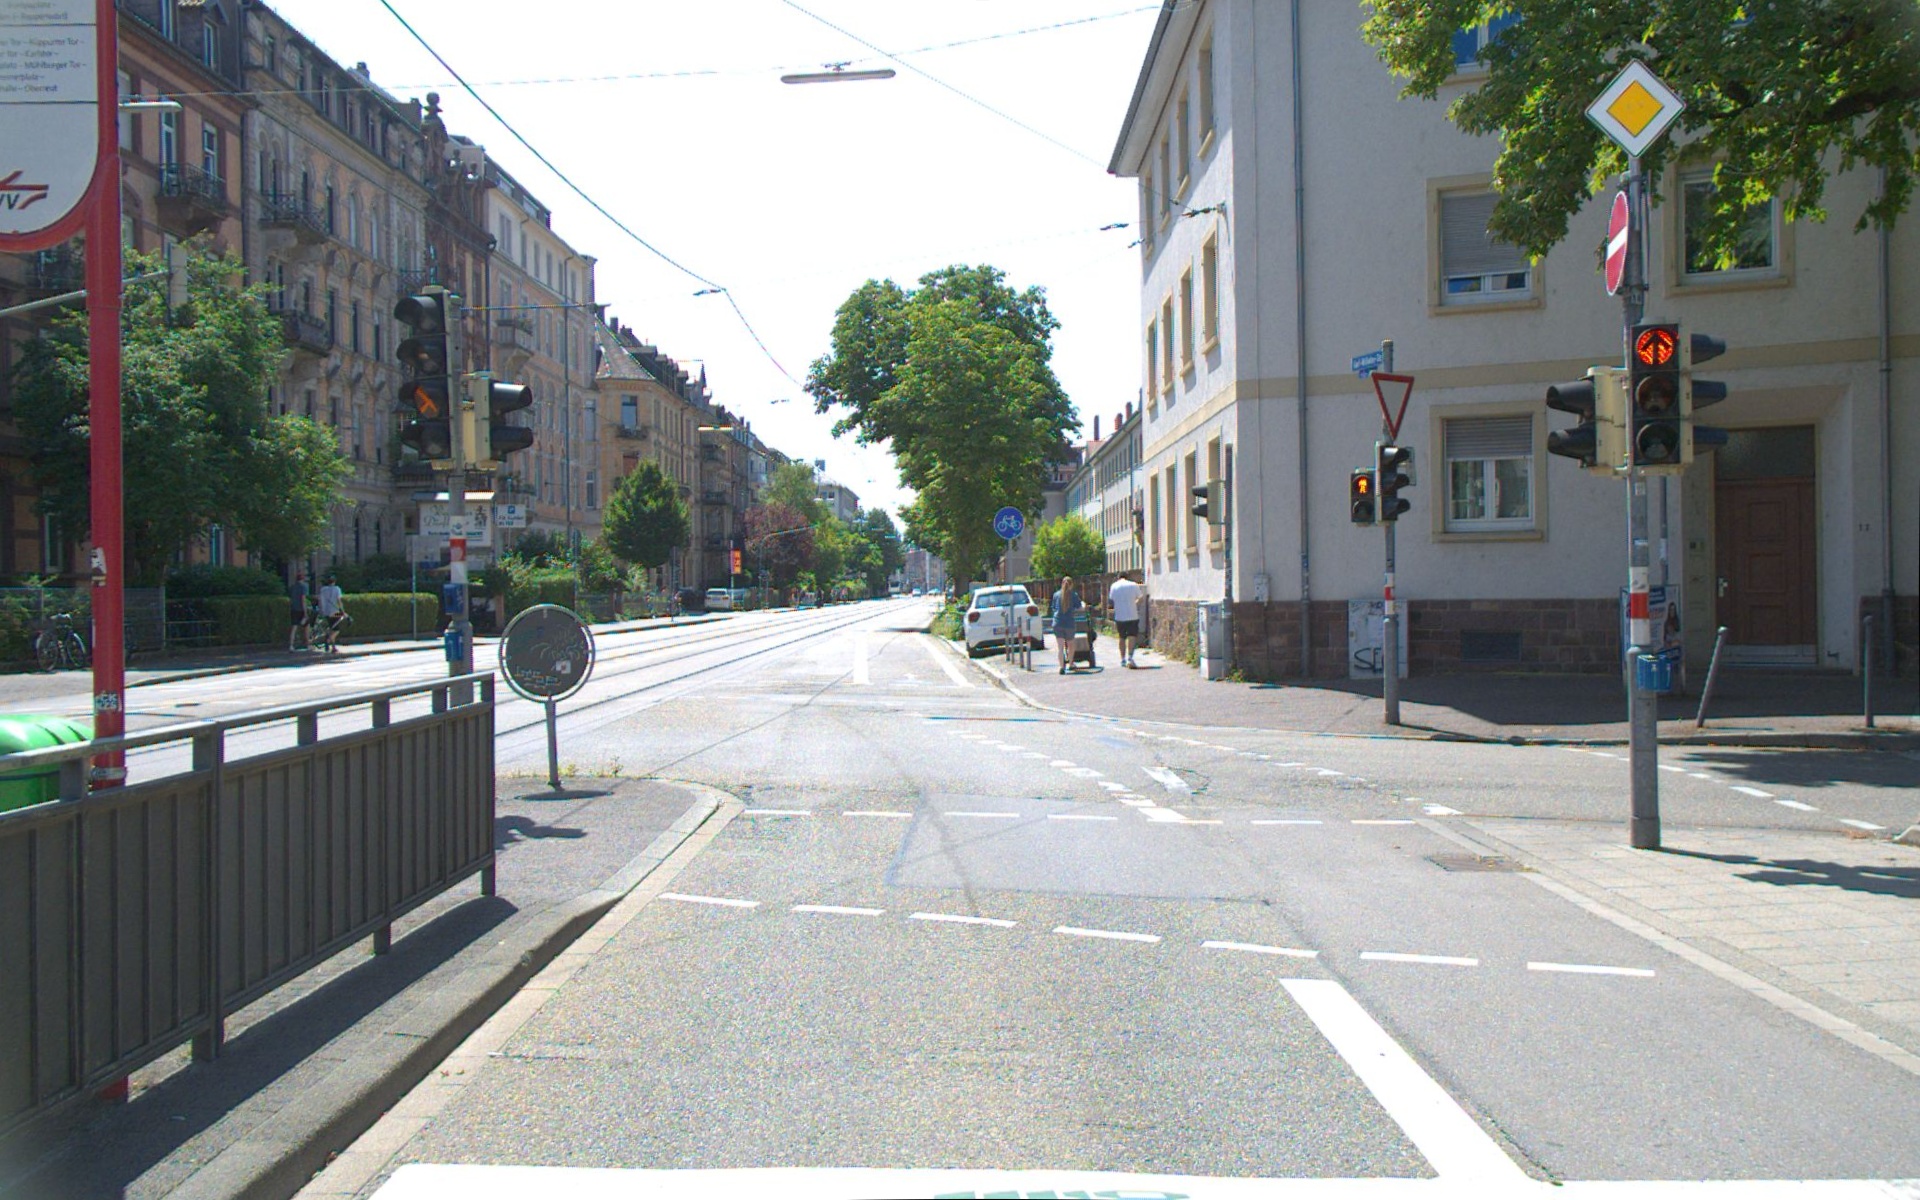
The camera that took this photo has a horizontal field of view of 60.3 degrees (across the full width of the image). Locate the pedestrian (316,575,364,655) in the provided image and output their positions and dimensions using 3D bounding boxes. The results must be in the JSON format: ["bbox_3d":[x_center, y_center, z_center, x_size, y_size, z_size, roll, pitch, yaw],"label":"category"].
[{"bbox_3d":[-14.586,0.338,38.930,0.799,1.854,0.873,1,1,-1],"label":"pedestrian"}]

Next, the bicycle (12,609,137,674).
[{"bbox_3d":[-16.709,0.762,31.305,0.918,1.156,2.773,1,0,-2],"label":"bicycle"}]

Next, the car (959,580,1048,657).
[{"bbox_3d":[0.932,0.401,37.330,1.778,1.542,3.999,-3,0,-1],"label":"car"}]

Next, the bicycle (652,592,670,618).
[{"bbox_3d":[-15.269,0.256,84.435,0.664,1.301,1.917,-1,0,-4],"label":"bicycle"}]

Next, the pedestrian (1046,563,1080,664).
[{"bbox_3d":[1.741,0.222,27.884,0.545,1.674,0.677,1,-1,4],"label":"pedestrian"}]

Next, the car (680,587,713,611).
[{"bbox_3d":[-19.666,-0.059,123.608,1.880,1.745,3.999,1,0,-1],"label":"car"}]

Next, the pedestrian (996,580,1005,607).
[{"bbox_3d":[2.438,-0.376,99.508,0.511,1.590,0.573,-1,0,-1],"label":"pedestrian"}]

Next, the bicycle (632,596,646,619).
[{"bbox_3d":[-15.493,0.341,79.788,0.665,1.083,1.913,-1,0,-12],"label":"bicycle"}]

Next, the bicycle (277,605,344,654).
[{"bbox_3d":[-15.878,0.703,40.515,0.920,1.156,2.767,1,0,-9],"label":"bicycle"}]

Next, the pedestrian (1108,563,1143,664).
[{"bbox_3d":[2.799,0.232,28.029,0.545,1.674,0.677,1,-1,4],"label":"pedestrian"}]

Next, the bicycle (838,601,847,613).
[{"bbox_3d":[-11.524,0.706,162.568,0.712,1.142,2.085,1,0,1],"label":"bicycle"}]

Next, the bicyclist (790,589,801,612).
[{"bbox_3d":[-12.338,0.050,124.151,0.712,1.657,1.079,1,0,1],"label":"bicyclist"}]

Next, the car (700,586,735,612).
[{"bbox_3d":[-16.867,-0.046,115.313,1.880,1.745,3.999,1,0,-1],"label":"car"}]

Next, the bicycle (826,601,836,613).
[{"bbox_3d":[-12.670,0.718,162.493,0.712,1.142,2.085,1,0,1],"label":"bicycle"}]

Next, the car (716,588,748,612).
[{"bbox_3d":[-17.035,-0.014,123.574,1.880,1.745,3.999,1,0,-1],"label":"car"}]

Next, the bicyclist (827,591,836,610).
[{"bbox_3d":[-12.646,0.038,162.547,0.712,1.850,1.079,1,0,1],"label":"bicyclist"}]

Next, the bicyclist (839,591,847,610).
[{"bbox_3d":[-11.515,0.049,162.487,0.712,1.850,1.079,1,0,1],"label":"bicyclist"}]

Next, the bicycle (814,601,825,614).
[{"bbox_3d":[-11.951,0.638,141.161,0.712,1.142,2.085,1,0,1],"label":"bicycle"}]

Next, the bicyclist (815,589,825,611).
[{"bbox_3d":[-11.947,0.001,141.102,0.712,1.799,1.079,1,0,1],"label":"bicyclist"}]

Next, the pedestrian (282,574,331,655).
[{"bbox_3d":[-15.340,0.331,38.844,0.799,1.854,0.873,1,1,-1],"label":"pedestrian"}]

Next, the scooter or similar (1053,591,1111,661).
[{"bbox_3d":[2.123,0.444,28.749,0.546,1.175,1.203,1,0,28],"label":"scooter or similar"}]
